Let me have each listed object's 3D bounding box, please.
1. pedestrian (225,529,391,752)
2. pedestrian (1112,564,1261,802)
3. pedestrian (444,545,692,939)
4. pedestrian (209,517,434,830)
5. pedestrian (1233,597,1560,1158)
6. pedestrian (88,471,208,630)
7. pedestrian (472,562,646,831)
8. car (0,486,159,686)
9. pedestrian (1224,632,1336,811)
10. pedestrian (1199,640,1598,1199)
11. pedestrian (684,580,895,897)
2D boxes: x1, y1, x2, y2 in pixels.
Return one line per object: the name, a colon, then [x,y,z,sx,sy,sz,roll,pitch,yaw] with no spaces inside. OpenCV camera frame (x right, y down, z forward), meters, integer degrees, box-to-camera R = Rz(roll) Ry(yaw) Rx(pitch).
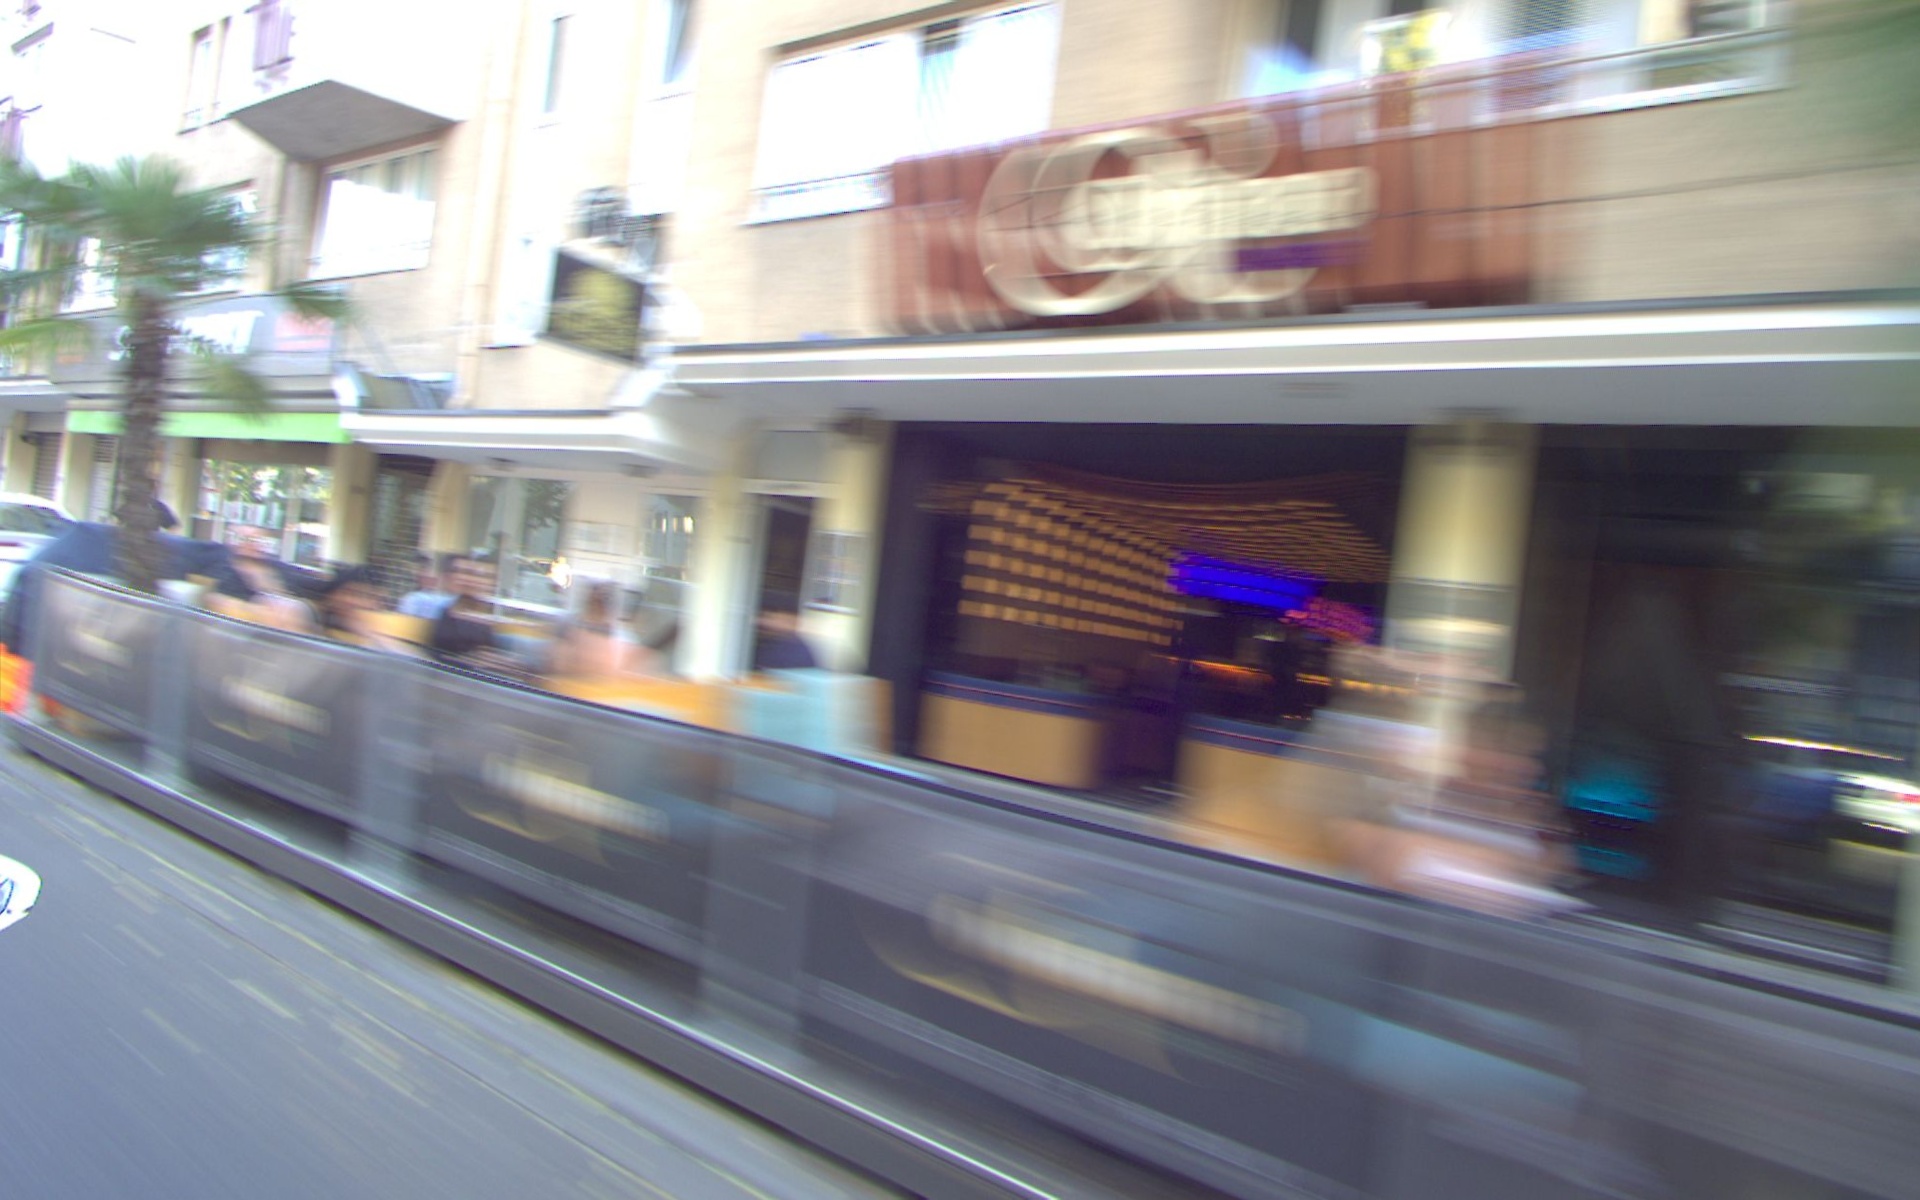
pedestrian: [-4.019,0.238,6.211,0.593,1.260,0.577,7,2,32]
pedestrian: [2.022,0.717,8.947,0.862,1.907,0.800,9,2,28]
pedestrian: [-1.569,0.525,4.050,0.593,1.402,0.577,7,2,32]
pedestrian: [-3.046,0.323,4.809,0.692,1.336,0.577,7,2,32]
pedestrian: [1.533,0.854,3.509,0.782,1.619,0.708,7,2,32]
pedestrian: [-9.473,-0.561,11.743,0.689,1.725,0.788,7,1,32]
pedestrian: [-2.299,0.526,5.778,0.593,1.402,0.577,7,2,32]
car: [-9.441,-0.350,9.045,5.104,1.500,1.843,7,1,32]
pedestrian: [3.777,1.403,11.855,0.863,1.907,0.800,9,2,31]
pedestrian: [1.242,0.915,2.849,0.782,1.504,0.631,7,2,32]
pedestrian: [-0.848,0.649,5.031,0.706,1.402,0.577,7,2,32]
